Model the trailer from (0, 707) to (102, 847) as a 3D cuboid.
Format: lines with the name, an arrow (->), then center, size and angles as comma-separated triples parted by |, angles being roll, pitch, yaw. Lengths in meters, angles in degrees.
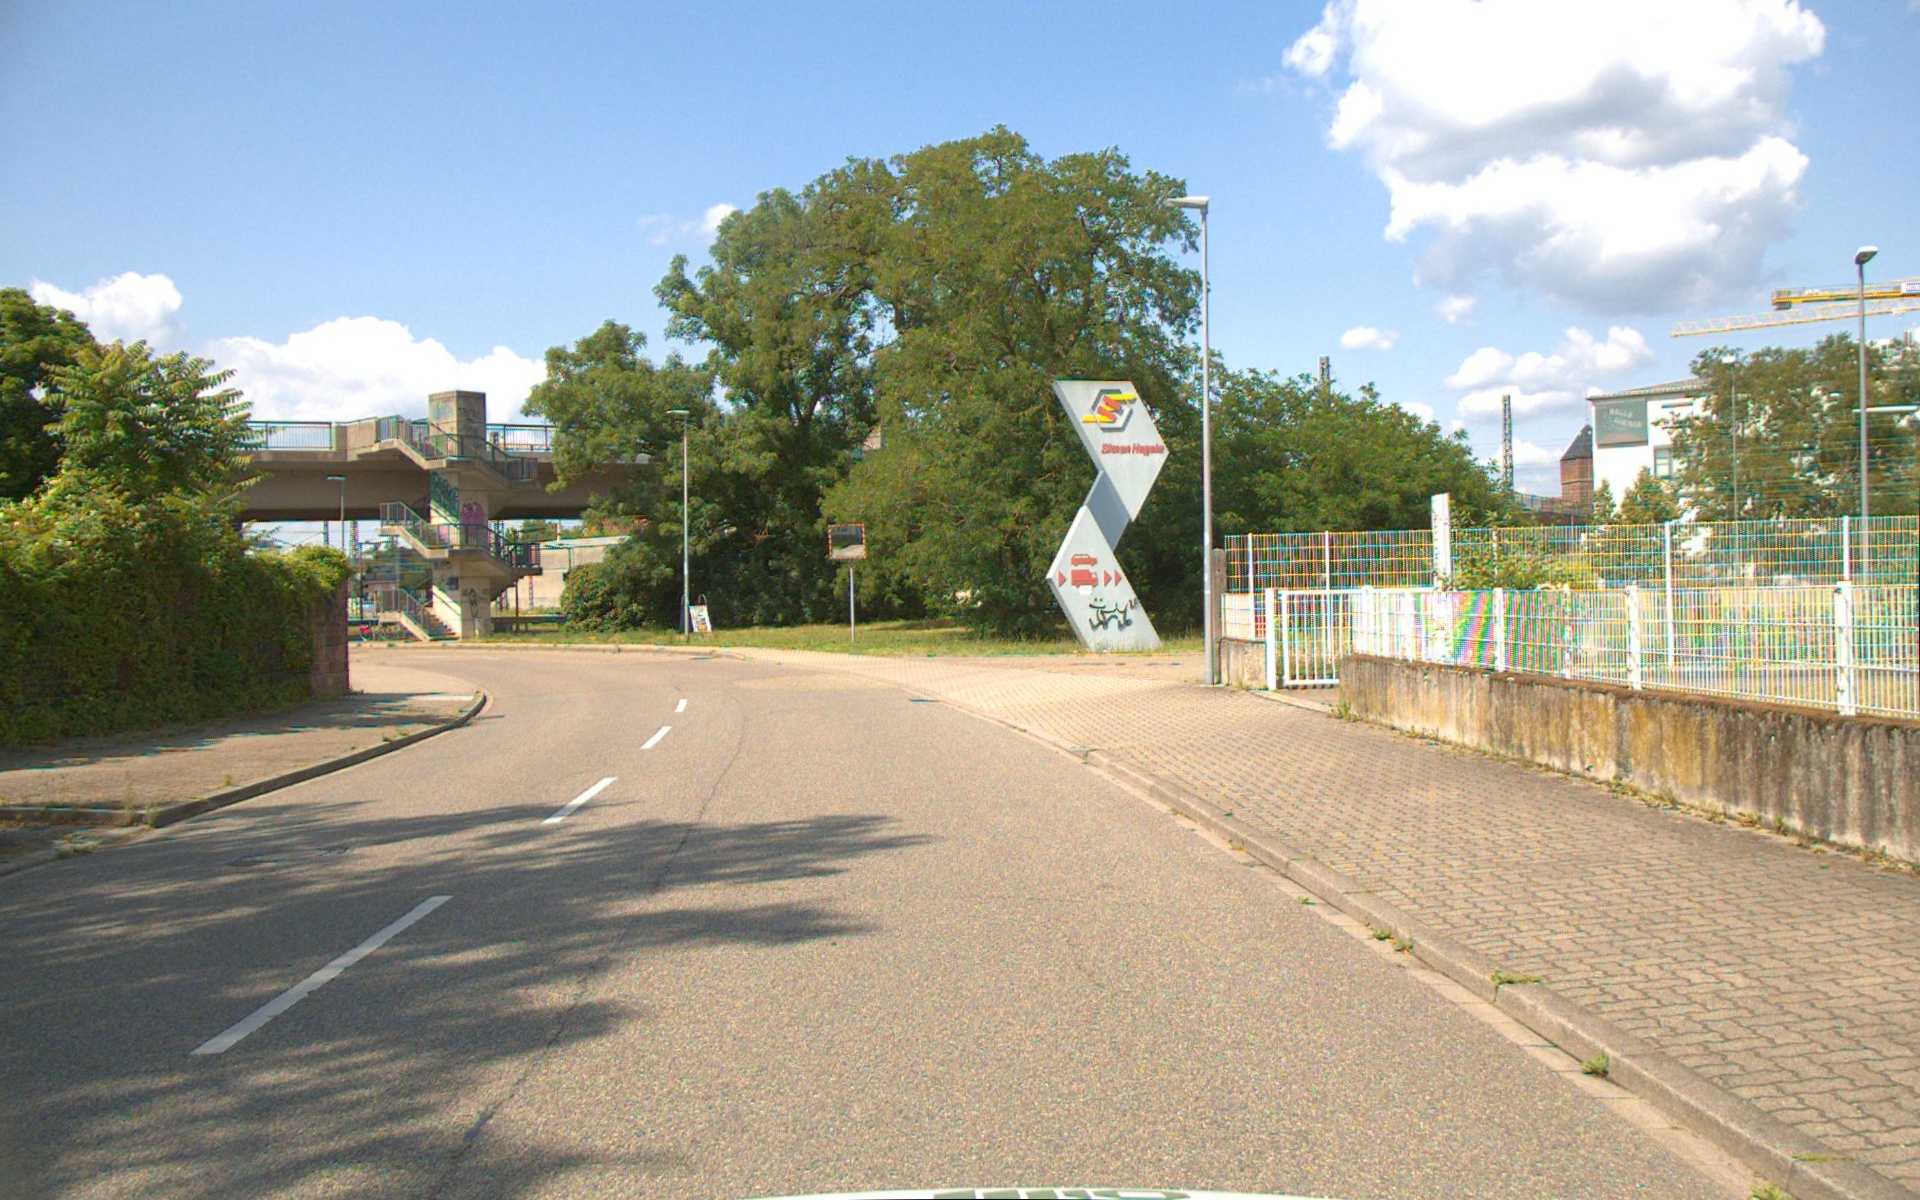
trailer -> -7.448, 1.264, 11.718 | 1.435, 0.865, 2.466 | 3, 0, -1

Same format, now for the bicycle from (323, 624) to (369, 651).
bicycle -> -27.082, 1.660, 72.954 | 2.143, 1.127, 0.643 | -2, 1, 30
